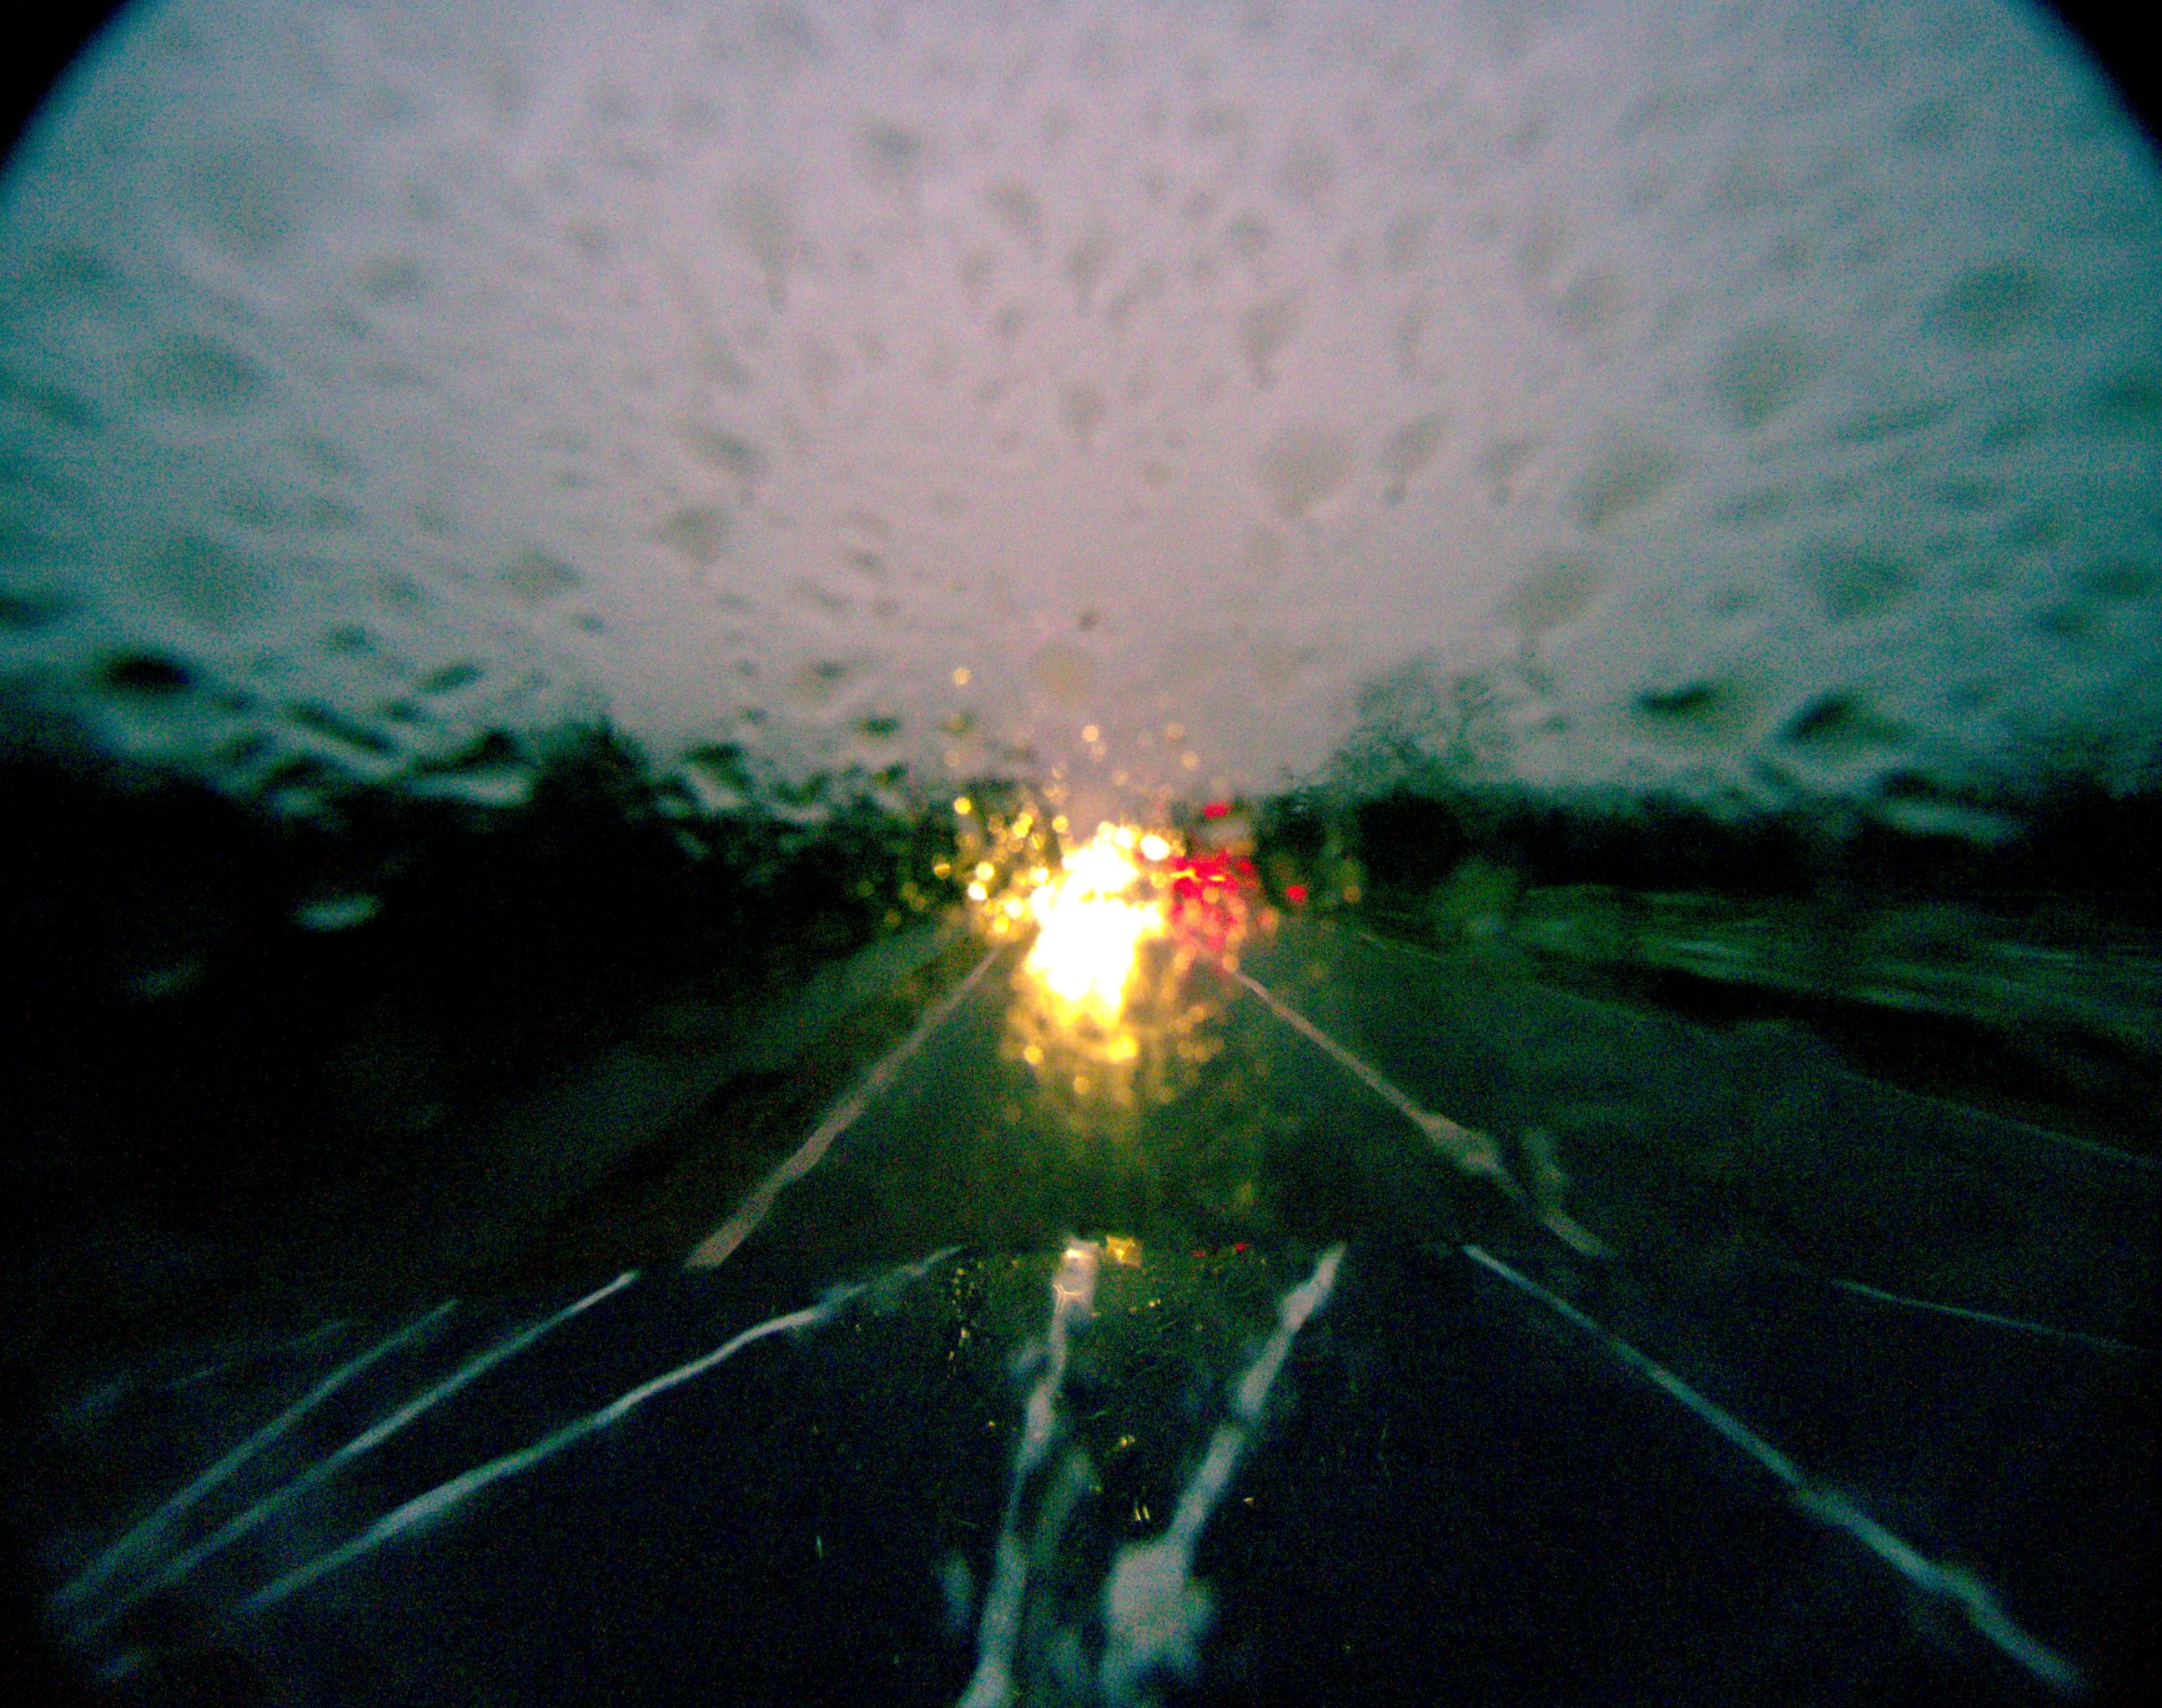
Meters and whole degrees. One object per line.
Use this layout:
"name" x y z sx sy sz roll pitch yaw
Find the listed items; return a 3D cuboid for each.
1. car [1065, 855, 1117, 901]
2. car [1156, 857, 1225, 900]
"car" 0.384 0.872 29.472 1.860 1.604 4.000 -1 0 1
"car" 4.133 0.886 29.329 1.860 1.508 4.515 1 0 -2
